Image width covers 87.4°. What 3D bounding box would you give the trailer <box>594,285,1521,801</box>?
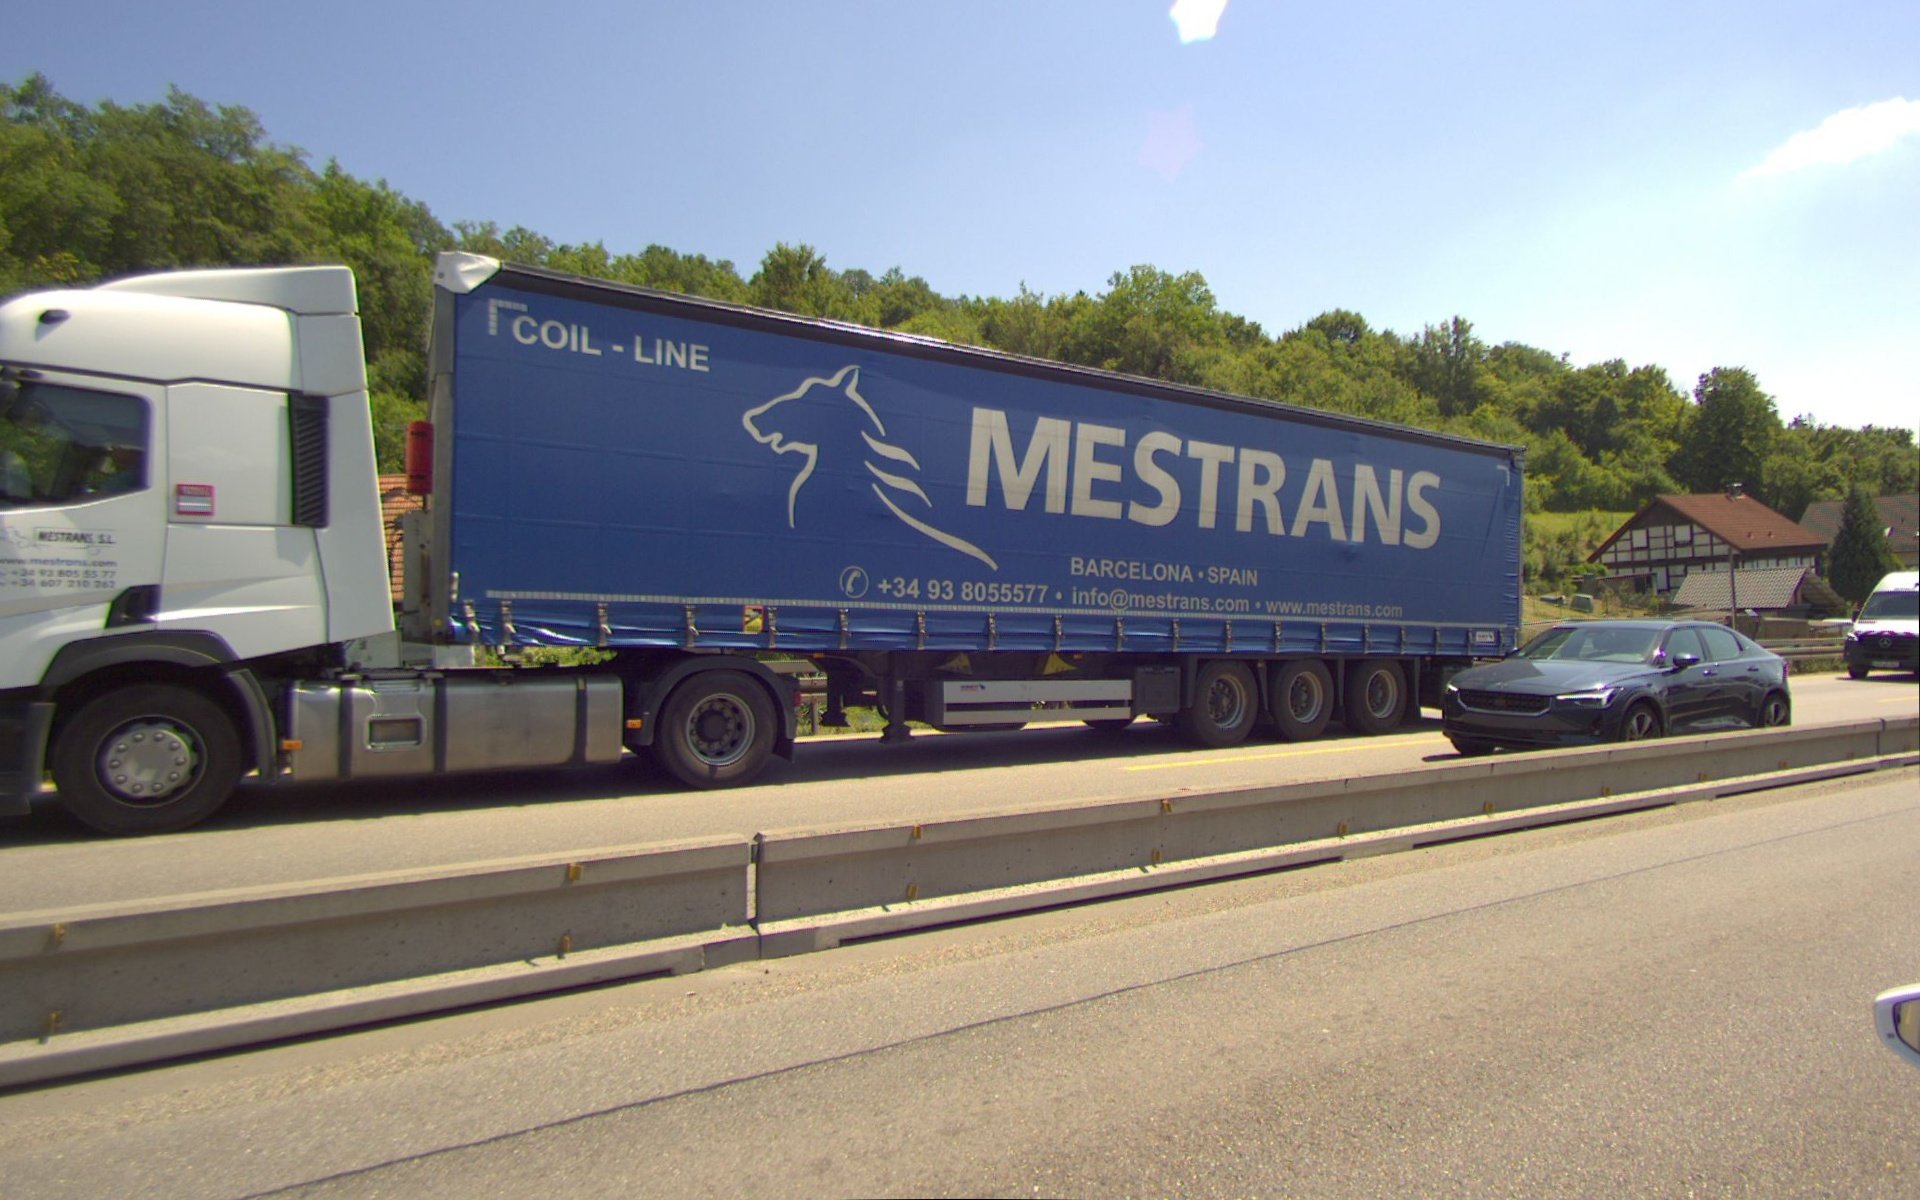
[{"bbox_3d":[1.905,-0.374,12.320,11.676,4.134,3.121,1,-1,-30],"label":"trailer"}]

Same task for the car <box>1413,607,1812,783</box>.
[{"bbox_3d":[7.149,0.879,10.895,4.505,1.567,1.841,1,-1,-31],"label":"car"}]

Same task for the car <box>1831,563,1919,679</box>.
[{"bbox_3d":[24.140,0.518,24.835,5.905,2.638,1.997,1,-1,-28],"label":"car"}]

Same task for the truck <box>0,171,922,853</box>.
[{"bbox_3d":[-4.062,-0.485,8.867,6.795,4.134,3.122,1,0,-29],"label":"truck"}]
